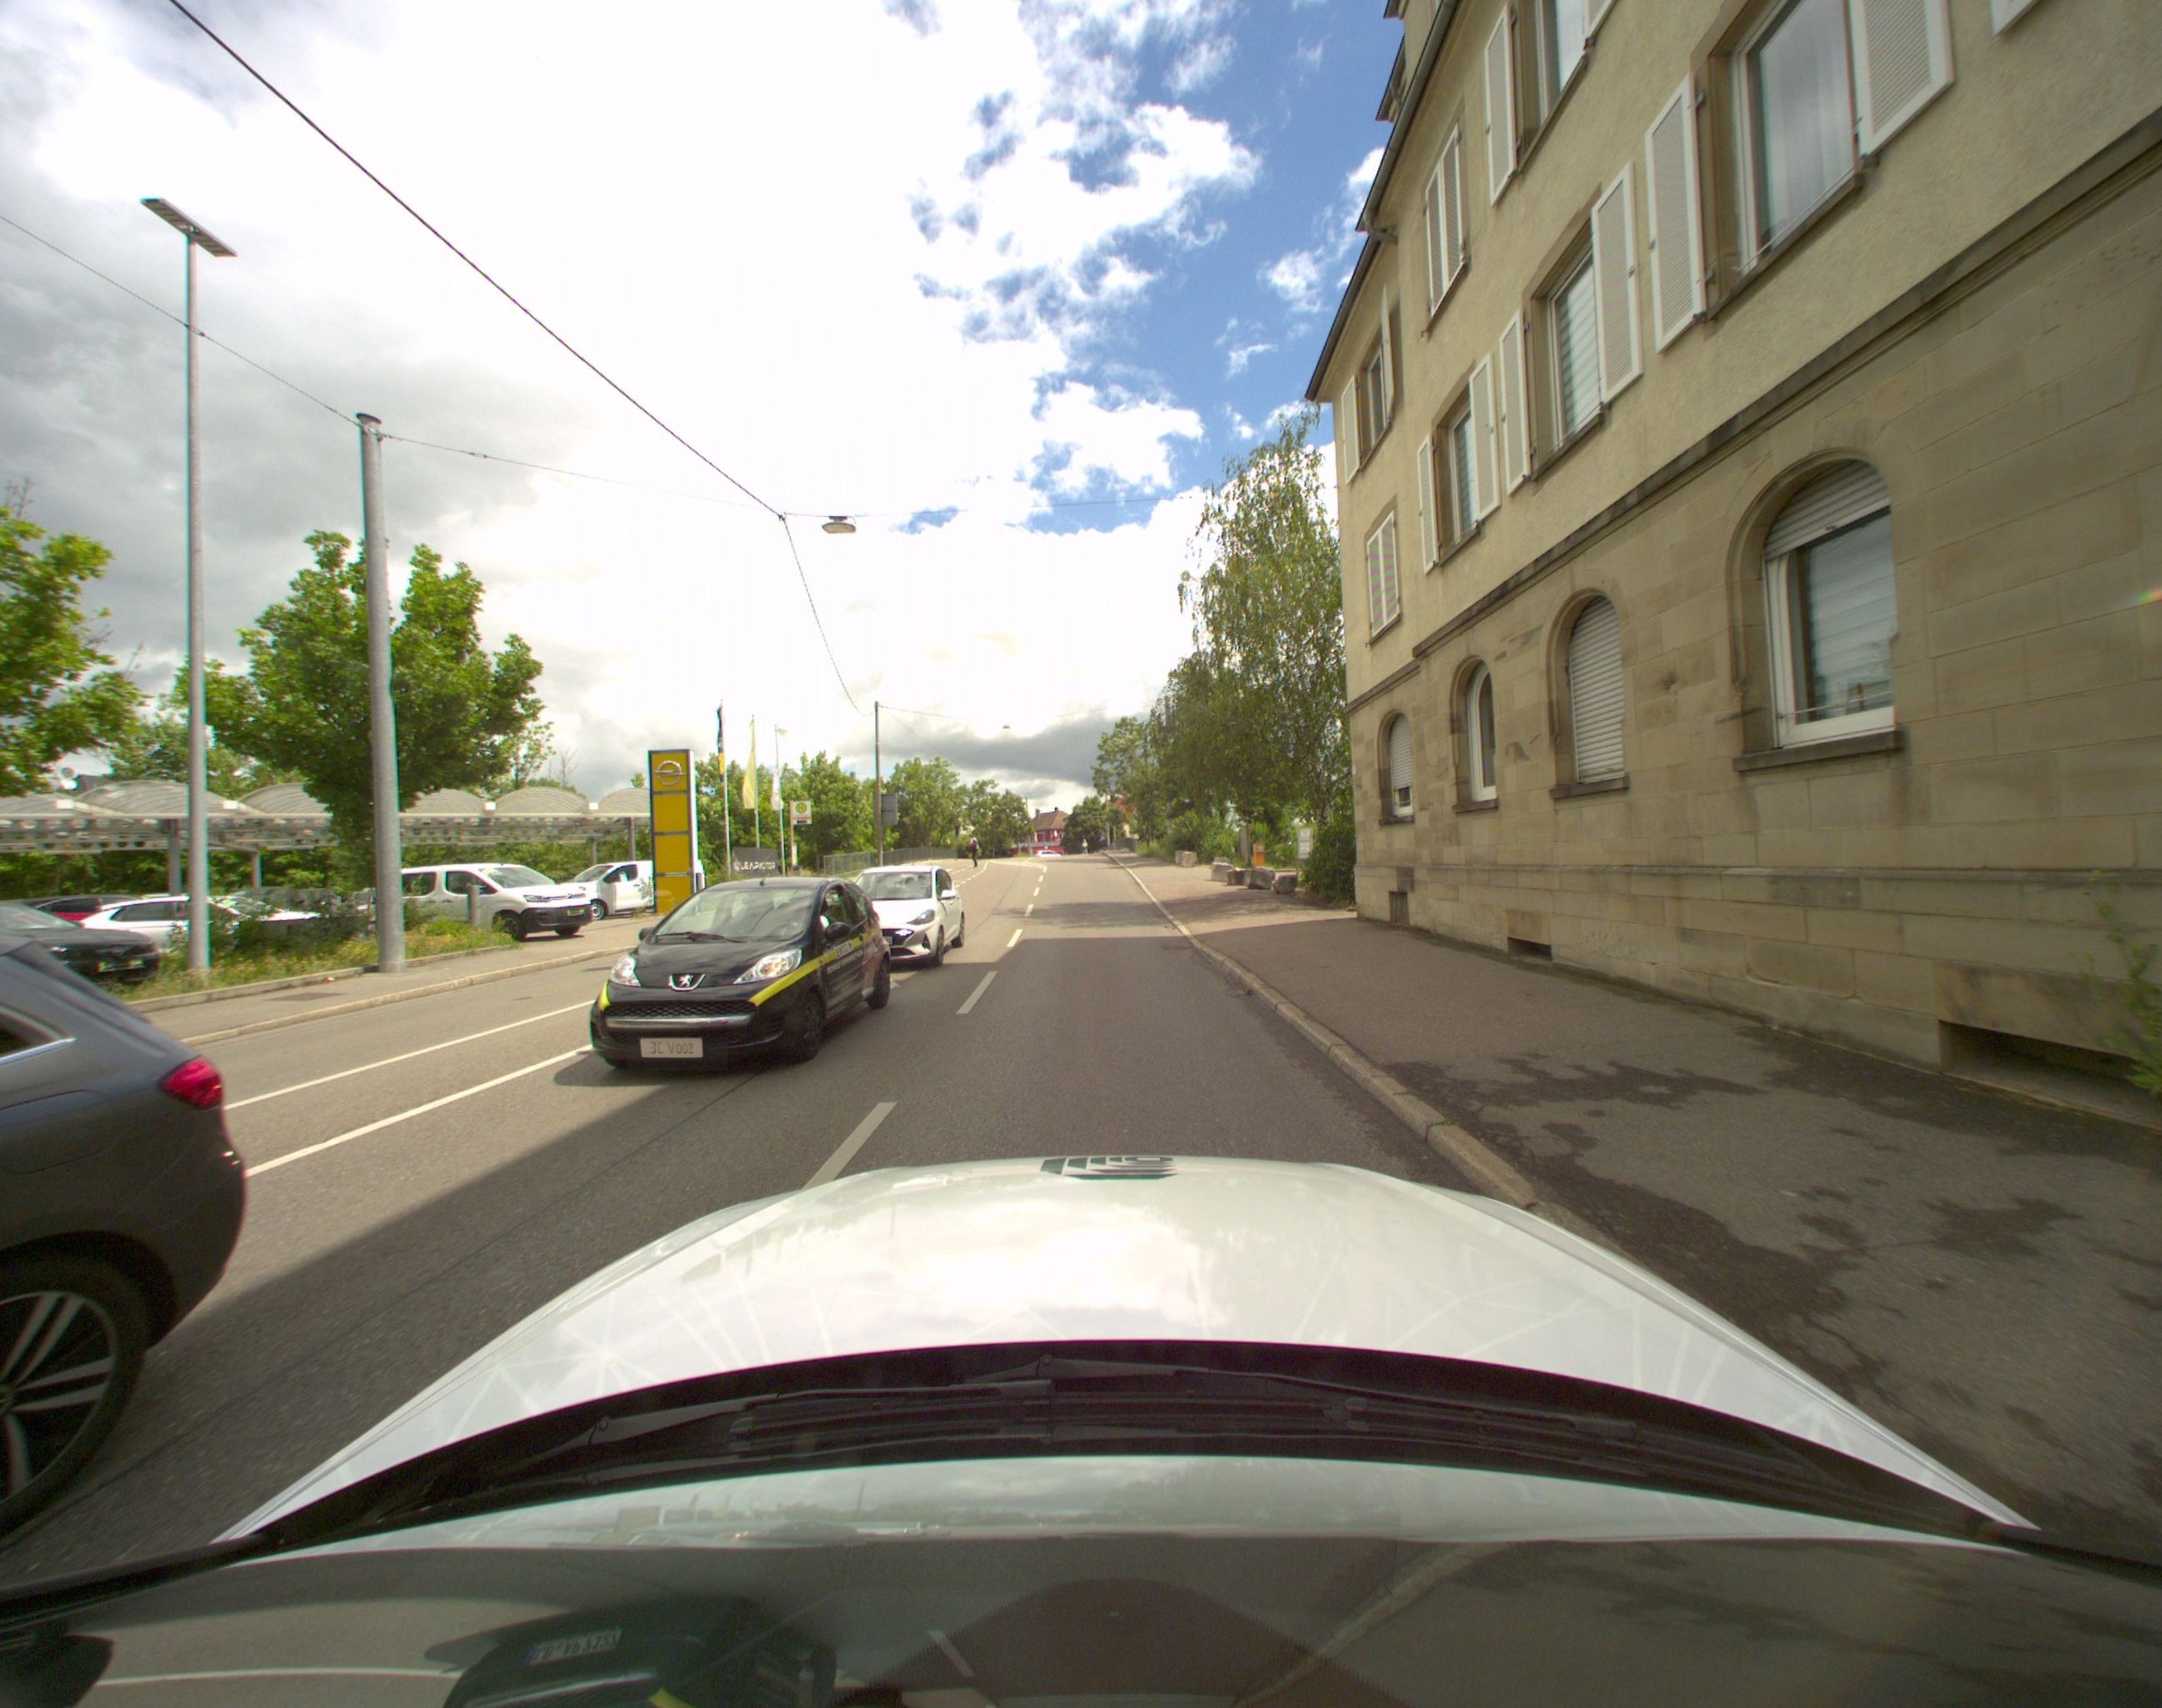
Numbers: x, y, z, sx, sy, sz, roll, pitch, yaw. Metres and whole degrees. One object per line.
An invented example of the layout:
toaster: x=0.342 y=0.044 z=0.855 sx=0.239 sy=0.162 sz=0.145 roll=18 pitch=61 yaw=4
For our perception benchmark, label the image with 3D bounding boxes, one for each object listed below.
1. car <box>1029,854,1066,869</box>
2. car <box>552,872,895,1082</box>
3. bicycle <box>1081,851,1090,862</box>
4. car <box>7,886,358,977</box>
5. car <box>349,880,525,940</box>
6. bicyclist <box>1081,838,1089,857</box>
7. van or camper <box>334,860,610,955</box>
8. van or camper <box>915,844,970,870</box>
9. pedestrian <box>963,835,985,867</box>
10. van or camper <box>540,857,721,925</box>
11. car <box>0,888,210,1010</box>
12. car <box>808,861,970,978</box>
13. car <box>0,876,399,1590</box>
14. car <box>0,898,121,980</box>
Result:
car: x=-4.058 y=0.937 z=100.031 sx=1.975 sy=1.832 sz=4.458 roll=-1 pitch=-2 yaw=43
car: x=-2.945 y=0.912 z=7.515 sx=1.714 sy=1.484 sz=3.321 roll=0 pitch=-1 yaw=-1
bicycle: x=0.458 y=0.251 z=81.555 sx=0.684 sy=0.878 sz=2.103 roll=-2 pitch=-5 yaw=4
car: x=-18.639 y=1.546 z=17.231 sx=4.524 sy=1.436 sz=1.999 roll=-3 pitch=0 yaw=-20
car: x=-19.230 y=1.627 z=24.502 sx=4.019 sy=1.466 sz=1.797 roll=-2 pitch=-1 yaw=-38
bicyclist: x=0.428 y=-0.658 z=81.529 sx=0.681 sy=1.826 sz=1.081 roll=-2 pitch=-5 yaw=4
van or camper: x=-13.399 y=1.145 z=18.118 sx=4.647 sy=1.750 sz=2.002 roll=-3 pitch=0 yaw=4
van or camper: x=-16.126 y=0.345 z=95.277 sx=5.889 sy=2.567 sz=2.193 roll=-4 pitch=-3 yaw=0
pedestrian: x=-6.226 y=-0.177 z=47.495 sx=1.028 sy=1.837 sz=1.001 roll=-1 pitch=1 yaw=8
van or camper: x=-15.052 y=1.157 z=27.534 sx=1.964 sy=1.963 sz=4.991 roll=-2 pitch=0 yaw=32
car: x=-14.712 y=1.312 z=10.994 sx=3.692 sy=1.409 sz=1.792 roll=-3 pitch=0 yaw=-6
car: x=-2.911 y=0.937 z=13.192 sx=1.714 sy=1.581 sz=3.998 roll=0 pitch=-1 yaw=-1
car: x=-3.343 y=0.831 z=0.711 sx=1.711 sy=1.581 sz=4.254 roll=-1 pitch=-1 yaw=4
car: x=-18.684 y=1.499 z=13.427 sx=1.535 sy=1.253 sz=3.473 roll=-3 pitch=0 yaw=-1
